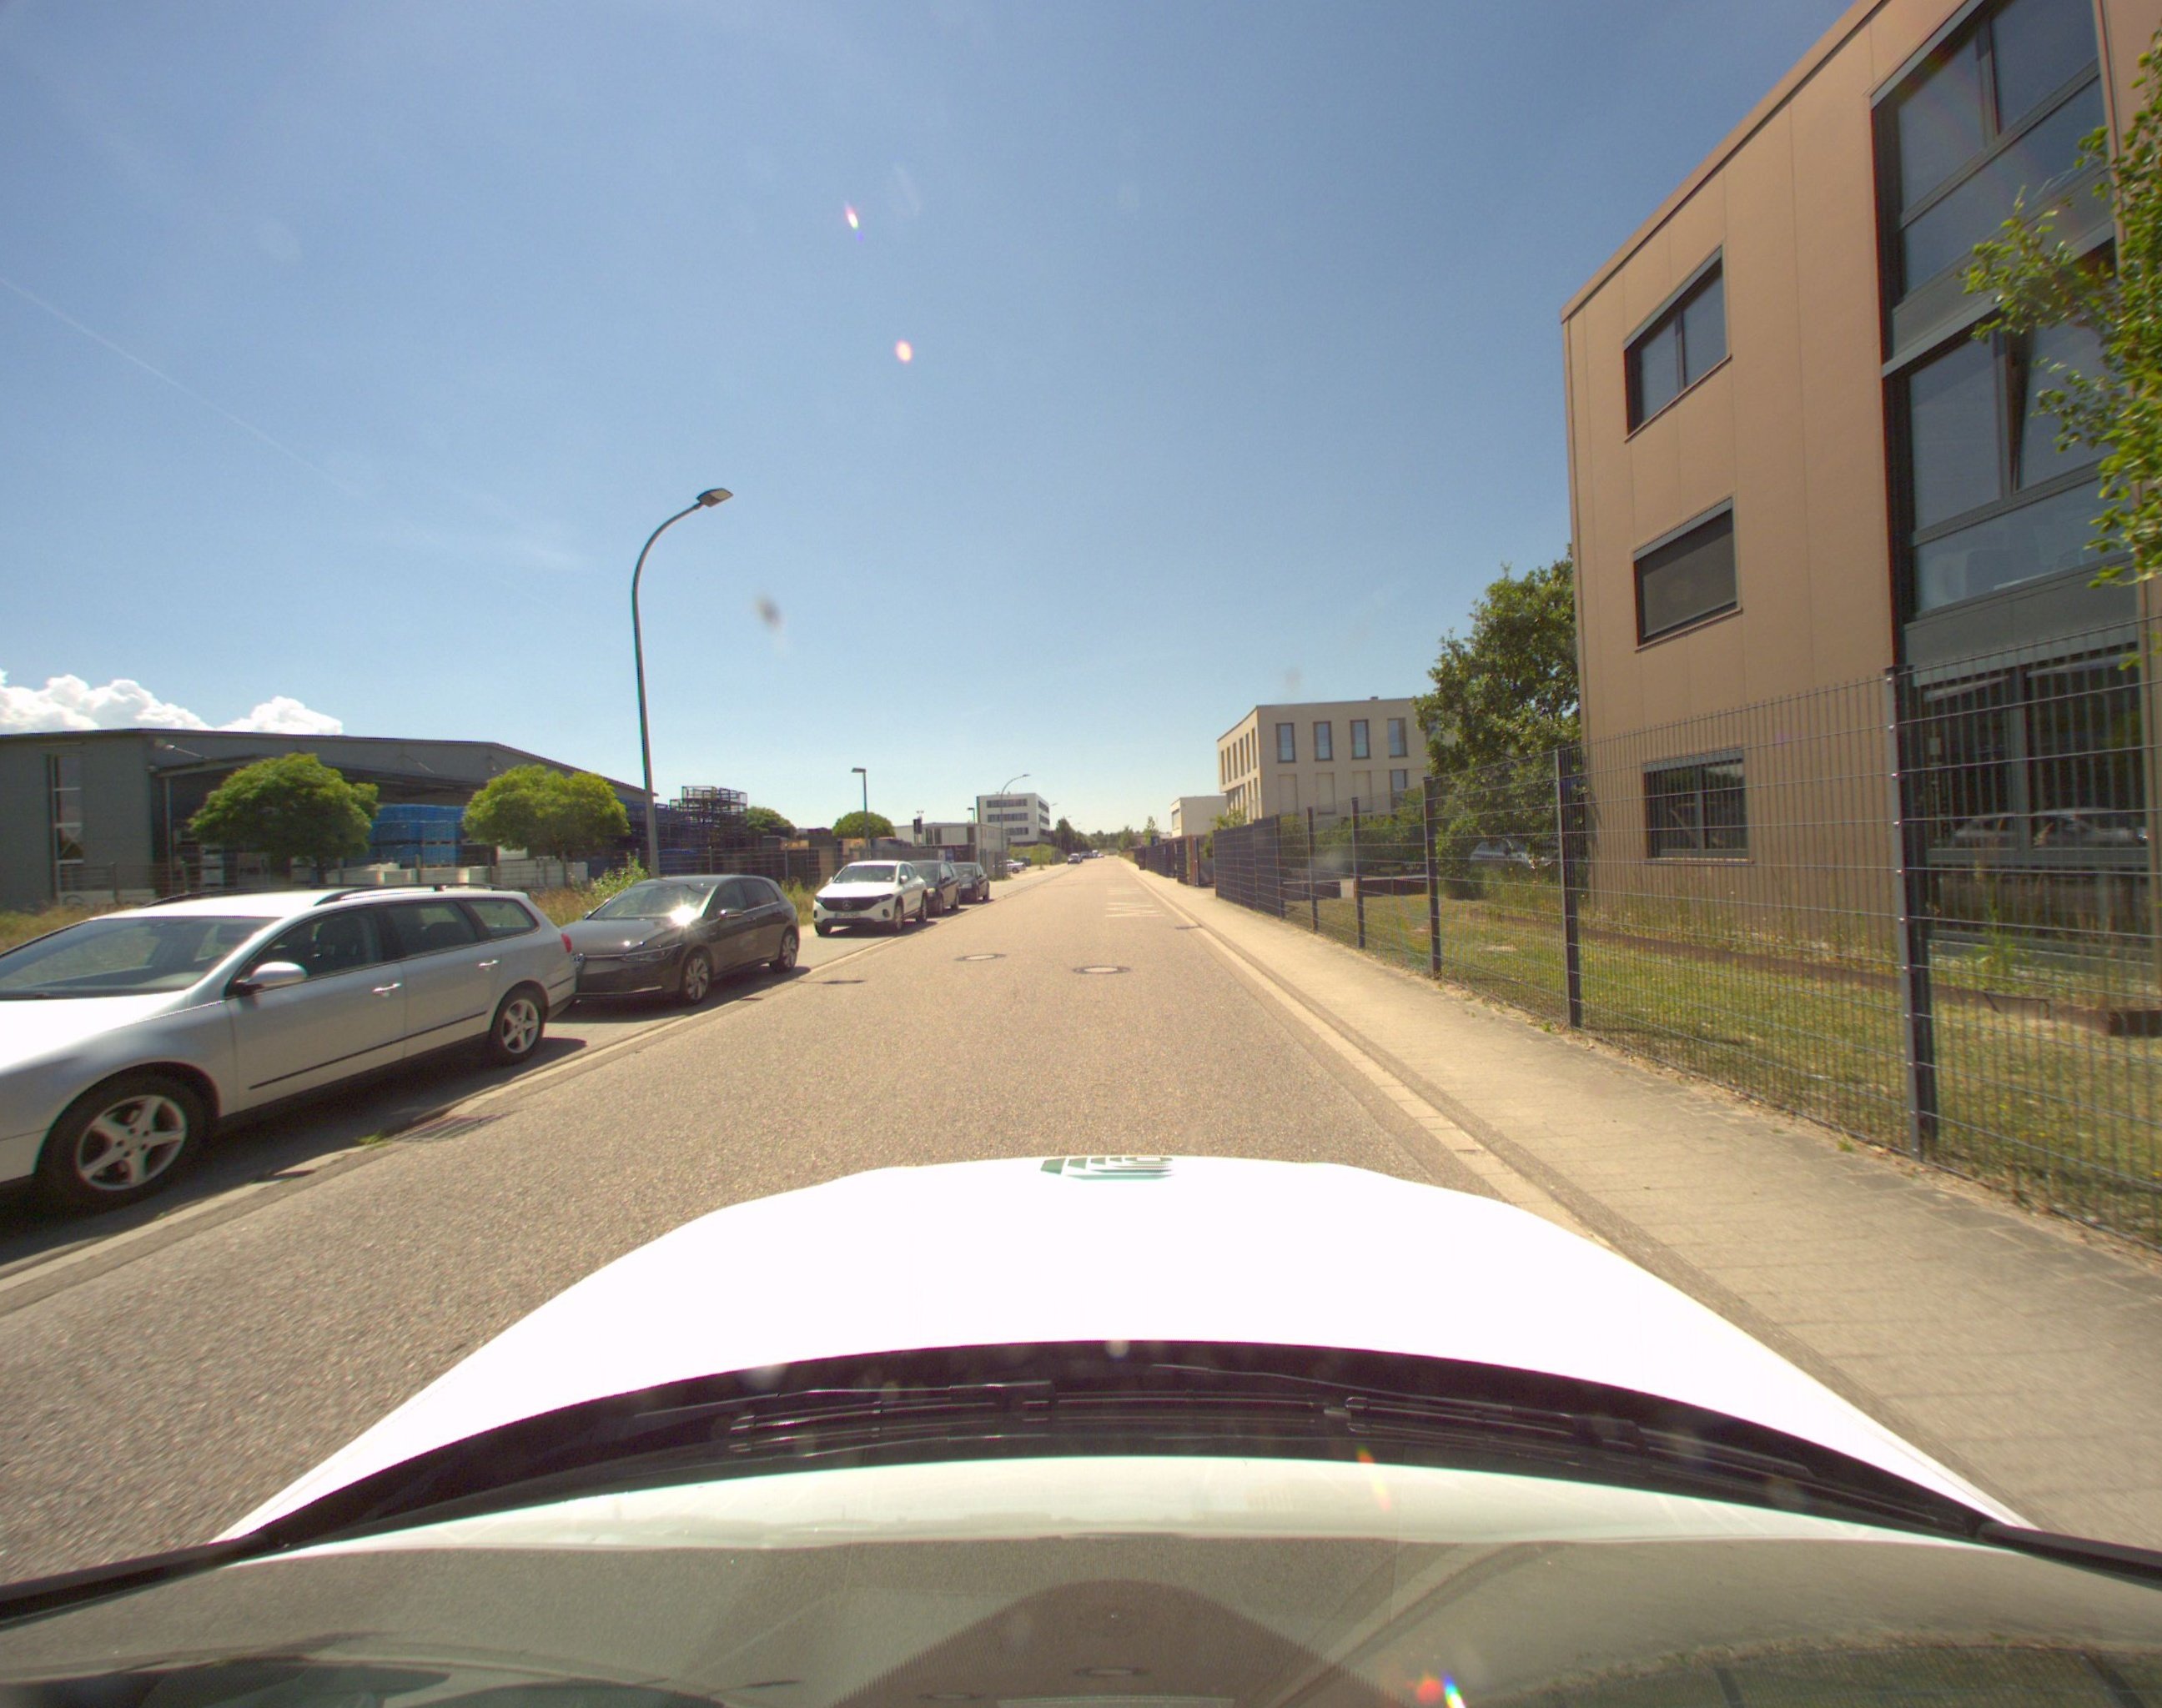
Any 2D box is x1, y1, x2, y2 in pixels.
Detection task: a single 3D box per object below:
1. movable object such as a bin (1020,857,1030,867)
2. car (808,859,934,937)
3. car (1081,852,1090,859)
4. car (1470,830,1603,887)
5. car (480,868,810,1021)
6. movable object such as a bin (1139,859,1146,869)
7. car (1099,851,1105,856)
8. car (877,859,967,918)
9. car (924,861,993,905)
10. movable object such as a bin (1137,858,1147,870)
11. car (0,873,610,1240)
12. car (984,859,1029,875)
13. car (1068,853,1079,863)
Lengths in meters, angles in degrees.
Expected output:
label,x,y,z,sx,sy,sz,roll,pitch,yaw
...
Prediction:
label,x,y,z,sx,sy,sz,roll,pitch,yaw
movable object such as a bin,-8.200,1.148,119.104,1.282,1.412,1.805,-2,0,-2
car,-4.821,0.936,19.331,1.763,1.592,4.360,-1,0,1
car,0.982,0.228,180.171,1.638,1.489,3.209,-2,0,2
car,12.943,0.125,23.438,1.649,1.444,4.002,-3,0,2
car,-5.217,0.973,10.543,1.850,1.481,4.231,-1,0,2
movable object such as a bin,5.834,0.928,77.060,0.549,0.928,0.523,-7,1,6
car,6.222,-0.168,242.069,1.797,1.557,4.002,-3,0,2
car,-4.728,0.970,24.800,1.763,1.556,4.502,-1,0,1
car,-4.476,1.042,30.413,1.762,1.461,4.335,-1,0,2
movable object such as a bin,5.863,0.934,78.142,0.775,1.019,0.666,-7,1,6
car,-5.486,0.937,5.444,1.769,1.481,4.816,-1,0,1
car,-7.683,1.368,84.092,4.261,1.364,1.899,-3,0,2
car,-1.209,0.613,125.200,1.461,1.489,3.209,-2,0,2
